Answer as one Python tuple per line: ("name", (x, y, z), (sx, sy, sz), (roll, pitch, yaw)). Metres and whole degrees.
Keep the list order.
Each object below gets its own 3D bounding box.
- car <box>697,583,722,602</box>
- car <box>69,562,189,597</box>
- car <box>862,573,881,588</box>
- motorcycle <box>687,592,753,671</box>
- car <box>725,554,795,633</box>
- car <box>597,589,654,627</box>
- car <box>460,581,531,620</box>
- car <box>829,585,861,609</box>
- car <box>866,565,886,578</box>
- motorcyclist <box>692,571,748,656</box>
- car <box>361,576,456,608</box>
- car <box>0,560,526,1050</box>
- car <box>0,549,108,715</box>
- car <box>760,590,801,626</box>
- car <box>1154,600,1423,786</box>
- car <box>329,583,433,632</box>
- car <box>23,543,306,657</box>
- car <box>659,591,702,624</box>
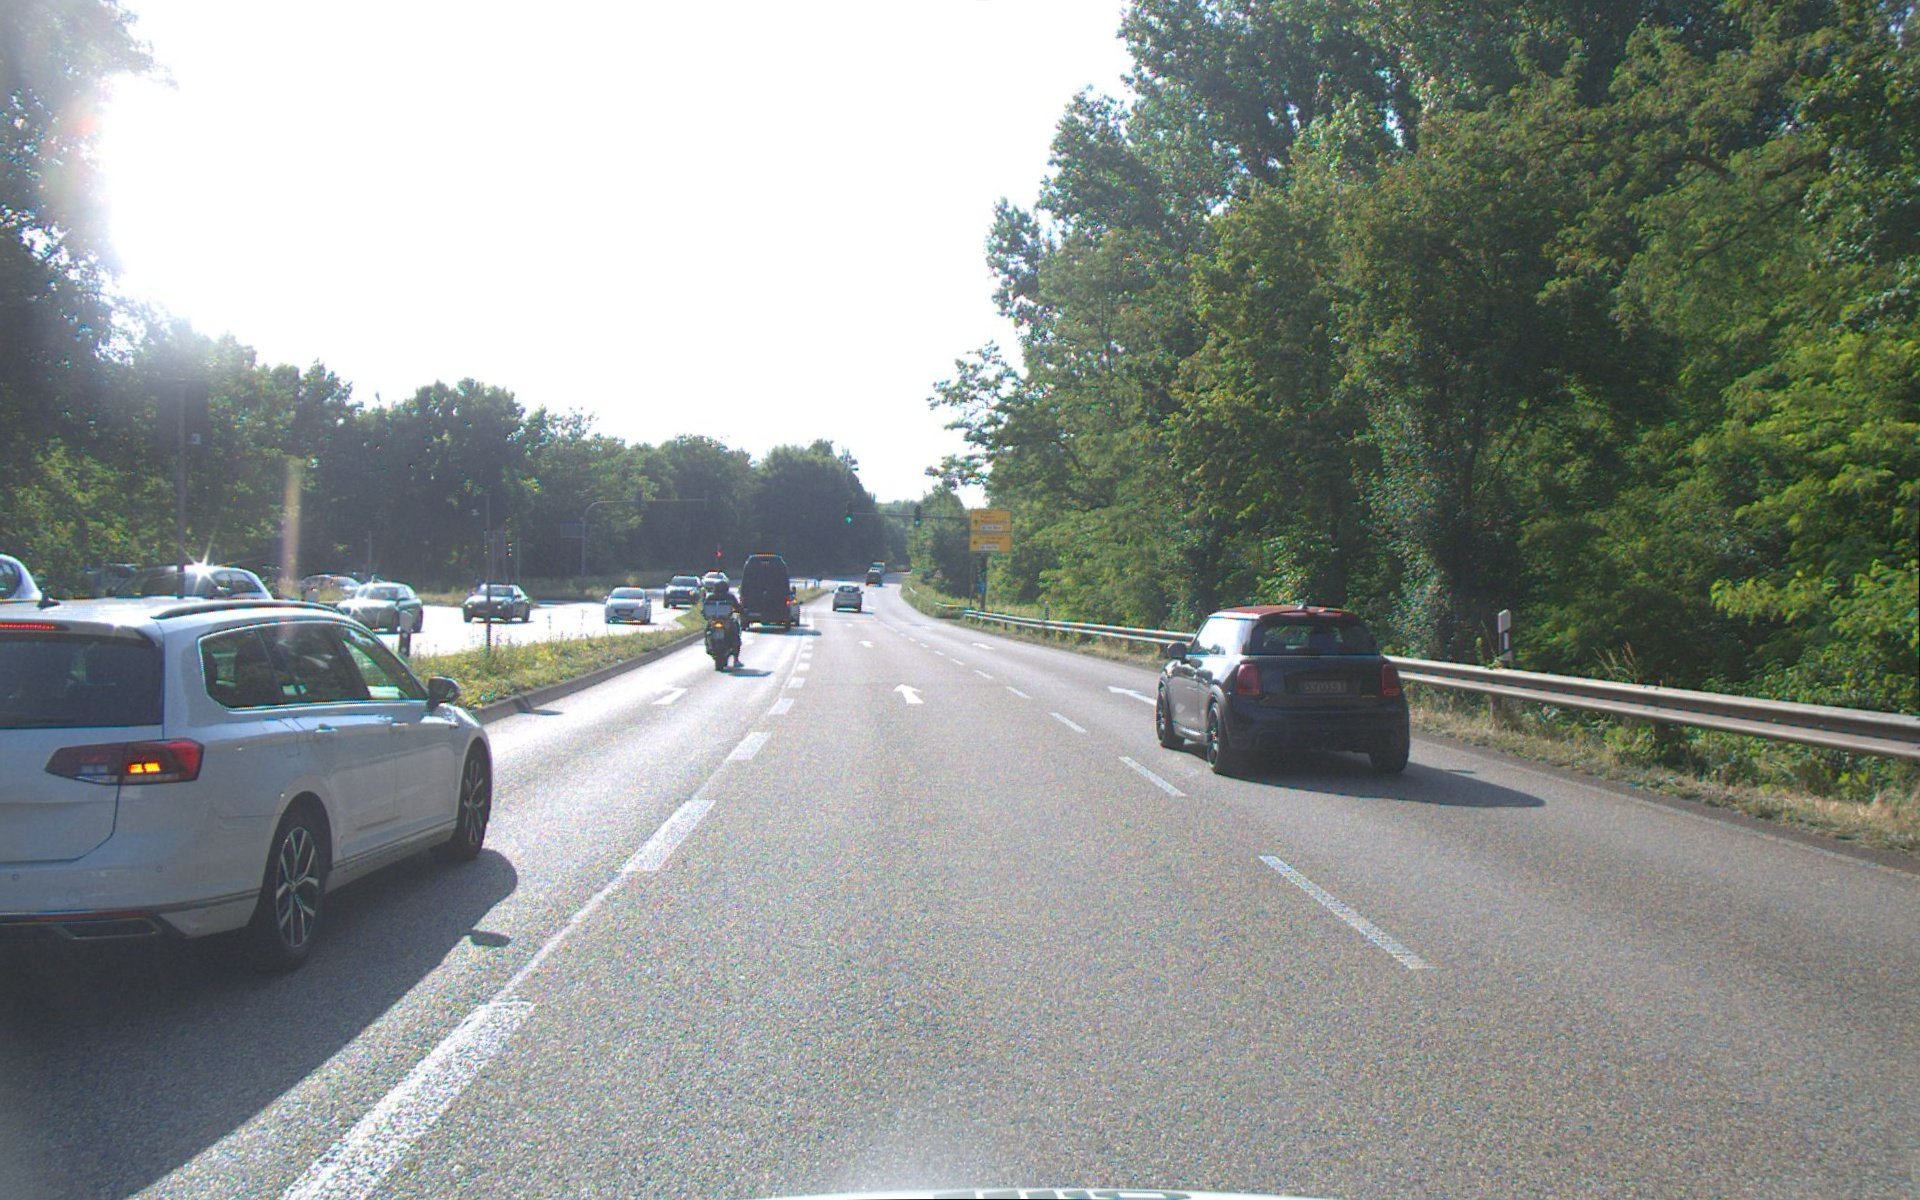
("car", (-19.999, -0.617, 132.270), (1.847, 1.529, 4.258), (0, 1, -7))
("car", (-43.120, -1.066, 85.869), (4.949, 1.516, 2.448), (3, 0, 4))
("car", (-9.523, -2.079, 178.036), (1.711, 1.564, 3.921), (3, 0, -6))
("motorcycle", (-4.804, 0.606, 33.237), (0.890, 1.479, 2.689), (-2, 1, 0))
("car", (-7.802, -0.282, 65.163), (2.165, 2.939, 7.008), (0, 0, -2))
("car", (-13.958, 0.317, 69.202), (1.753, 1.436, 4.223), (3, 0, -5))
("car", (-18.139, -0.017, 64.764), (1.753, 1.431, 4.750), (1, 0, -5))
("car", (-7.157, -0.199, 103.184), (1.726, 1.404, 3.971), (3, 0, -1))
("car", (-12.516, -4.211, 246.211), (1.811, 1.817, 4.674), (3, 0, 10))
("motorcyclist", (-4.808, 0.263, 33.208), (0.865, 1.644, 1.290), (3, 0, 0))
("car", (-30.768, -0.456, 92.344), (4.619, 1.516, 2.165), (3, 0, -7))
("car", (-3.561, 0.638, 7.824), (1.832, 1.548, 4.832), (3, 0, -2))
("car", (-9.232, 0.272, 14.033), (1.830, 1.442, 4.414), (0, 0, -2))
("car", (-7.863, 0.311, 72.785), (1.613, 1.515, 4.100), (0, 0, -4))
("car", (2.972, 0.776, 15.746), (1.782, 1.493, 3.873), (1, 0, 0))
("car", (-17.177, 0.194, 49.261), (1.703, 1.402, 4.373), (0, 0, -2))
("car", (-13.484, -0.023, 28.605), (2.060, 1.738, 6.223), (0, 0, -2))
("car", (-15.955, 0.398, 94.671), (2.035, 1.794, 4.752), (0, 1, -5))
